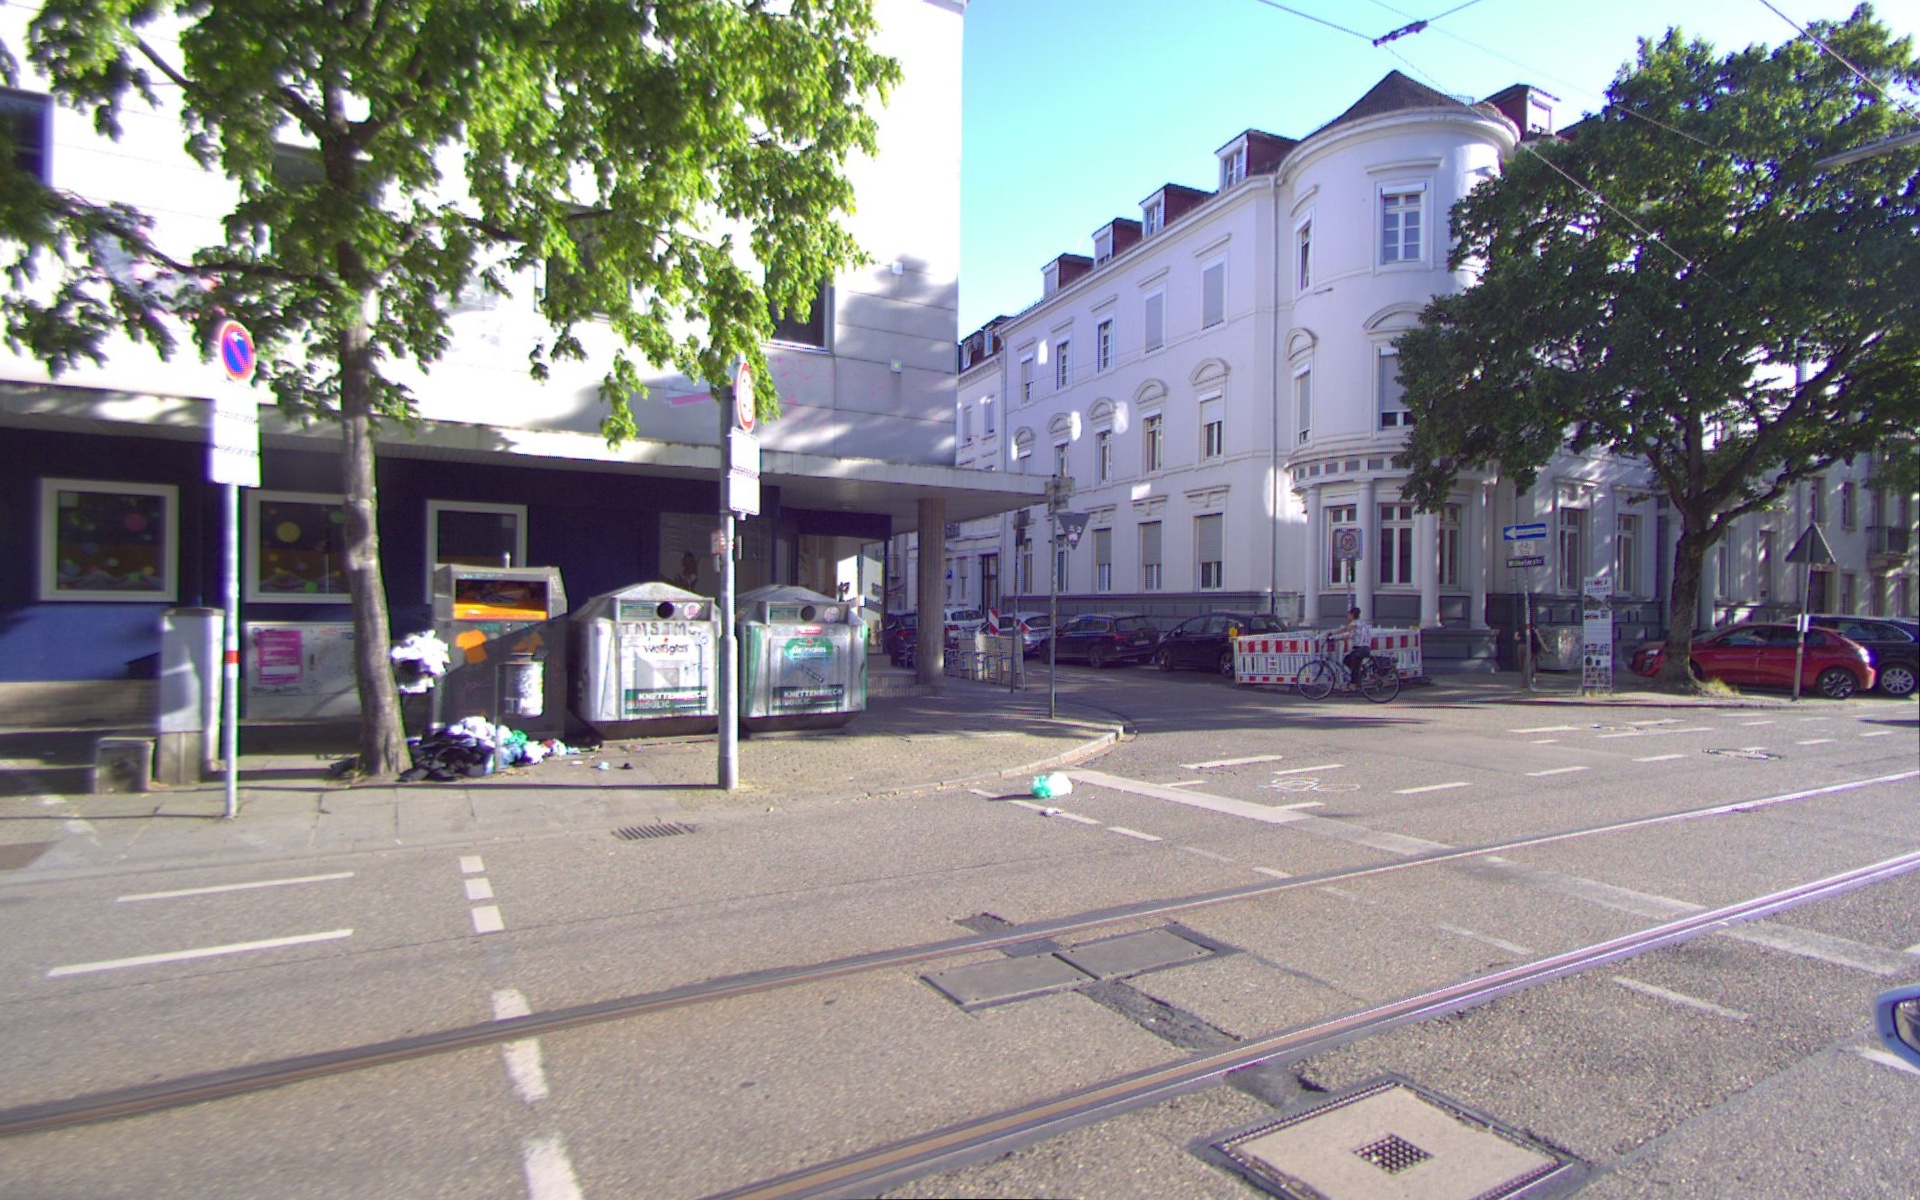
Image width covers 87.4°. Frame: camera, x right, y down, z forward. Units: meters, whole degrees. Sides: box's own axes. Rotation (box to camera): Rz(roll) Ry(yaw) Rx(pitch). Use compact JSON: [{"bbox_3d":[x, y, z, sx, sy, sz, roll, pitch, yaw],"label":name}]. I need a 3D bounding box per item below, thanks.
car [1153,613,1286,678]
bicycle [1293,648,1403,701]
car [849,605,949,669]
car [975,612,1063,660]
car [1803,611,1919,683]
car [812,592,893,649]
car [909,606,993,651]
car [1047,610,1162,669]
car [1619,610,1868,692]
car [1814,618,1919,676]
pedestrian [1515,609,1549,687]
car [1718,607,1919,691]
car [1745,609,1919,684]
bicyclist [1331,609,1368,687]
[{"bbox_3d":[6.249,1.052,24.503,1.455,1.462,3.230,1,-1,-25],"label":"car"},{"bbox_3d":[7.098,1.352,18.435,1.864,0.893,0.450,0,-1,21],"label":"bicycle"},{"bbox_3d":[-1.802,0.990,28.532,1.691,1.606,3.979,1,1,-21],"label":"car"},{"bbox_3d":[1.913,1.155,33.354,1.505,1.517,3.299,0,-1,-26],"label":"car"},{"bbox_3d":[23.895,1.170,25.410,3.616,1.744,1.610,0,-1,25],"label":"car"},{"bbox_3d":[-3.677,0.663,33.792,1.584,1.795,3.977,1,-1,-23],"label":"car"},{"bbox_3d":[-0.405,1.072,39.032,1.778,1.639,3.975,0,-1,-25],"label":"car"},{"bbox_3d":[4.066,1.070,28.788,1.455,1.569,3.748,1,-1,-25],"label":"car"},{"bbox_3d":[16.361,1.023,21.227,3.841,1.472,1.636,2,0,27],"label":"car"},{"bbox_3d":[25.842,1.267,27.407,3.616,1.548,1.482,0,-1,25],"label":"car"},{"bbox_3d":[11.811,0.977,20.744,0.502,1.593,0.346,0,0,-2],"label":"pedestrian"},{"bbox_3d":[19.206,1.041,22.229,3.616,1.744,1.610,0,-1,25],"label":"car"},{"bbox_3d":[21.189,1.075,24.047,3.501,1.684,1.735,0,-1,27],"label":"car"},{"bbox_3d":[7.141,0.872,18.415,0.628,1.396,0.459,0,0,21],"label":"bicyclist"}]
